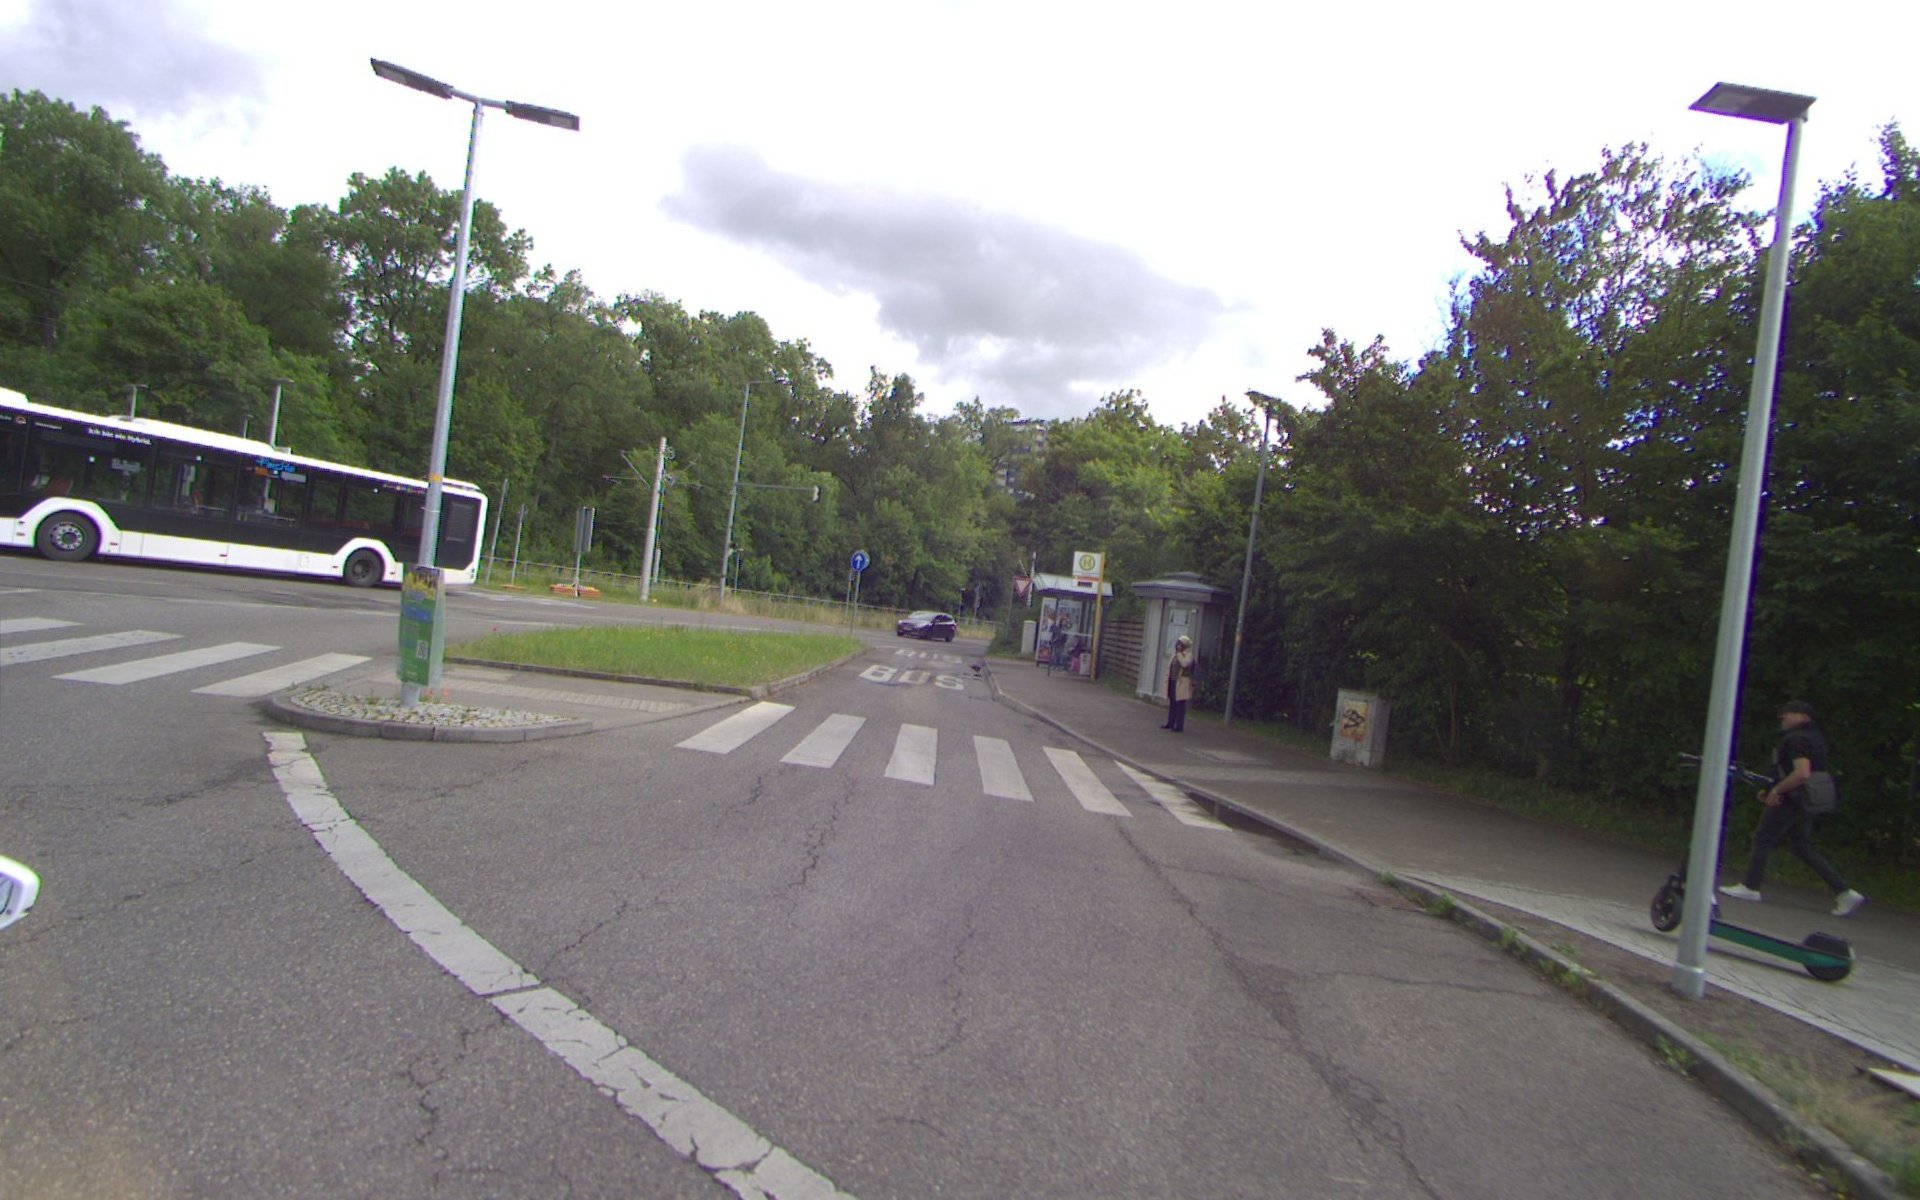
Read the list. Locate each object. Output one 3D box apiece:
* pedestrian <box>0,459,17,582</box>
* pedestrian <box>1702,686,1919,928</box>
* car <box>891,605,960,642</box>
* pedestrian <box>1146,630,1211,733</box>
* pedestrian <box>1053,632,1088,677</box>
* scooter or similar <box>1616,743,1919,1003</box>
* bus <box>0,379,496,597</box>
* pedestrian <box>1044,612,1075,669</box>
[{"bbox_3d":[-14.471,-1.230,14.587,1.048,1.768,0.952,7,0,43],"label":"pedestrian"},{"bbox_3d":[7.357,1.754,8.737,0.843,1.844,0.982,7,0,-13],"label":"pedestrian"},{"bbox_3d":[-1.729,1.249,51.943,1.729,1.451,4.428,8,-1,23],"label":"car"},{"bbox_3d":[3.752,1.396,17.344,0.675,1.615,0.769,7,3,-7],"label":"pedestrian"},{"bbox_3d":[3.196,1.574,29.205,0.737,1.184,0.771,7,0,-4],"label":"pedestrian"},{"bbox_3d":[5.374,1.722,6.678,0.616,1.289,1.482,7,-2,-34],"label":"scooter or similar"},{"bbox_3d":[-16.799,-2.234,23.018,2.627,3.241,12.194,7,-1,25],"label":"bus"},{"bbox_3d":[3.099,1.253,31.273,0.757,1.670,0.687,7,0,6],"label":"pedestrian"}]
